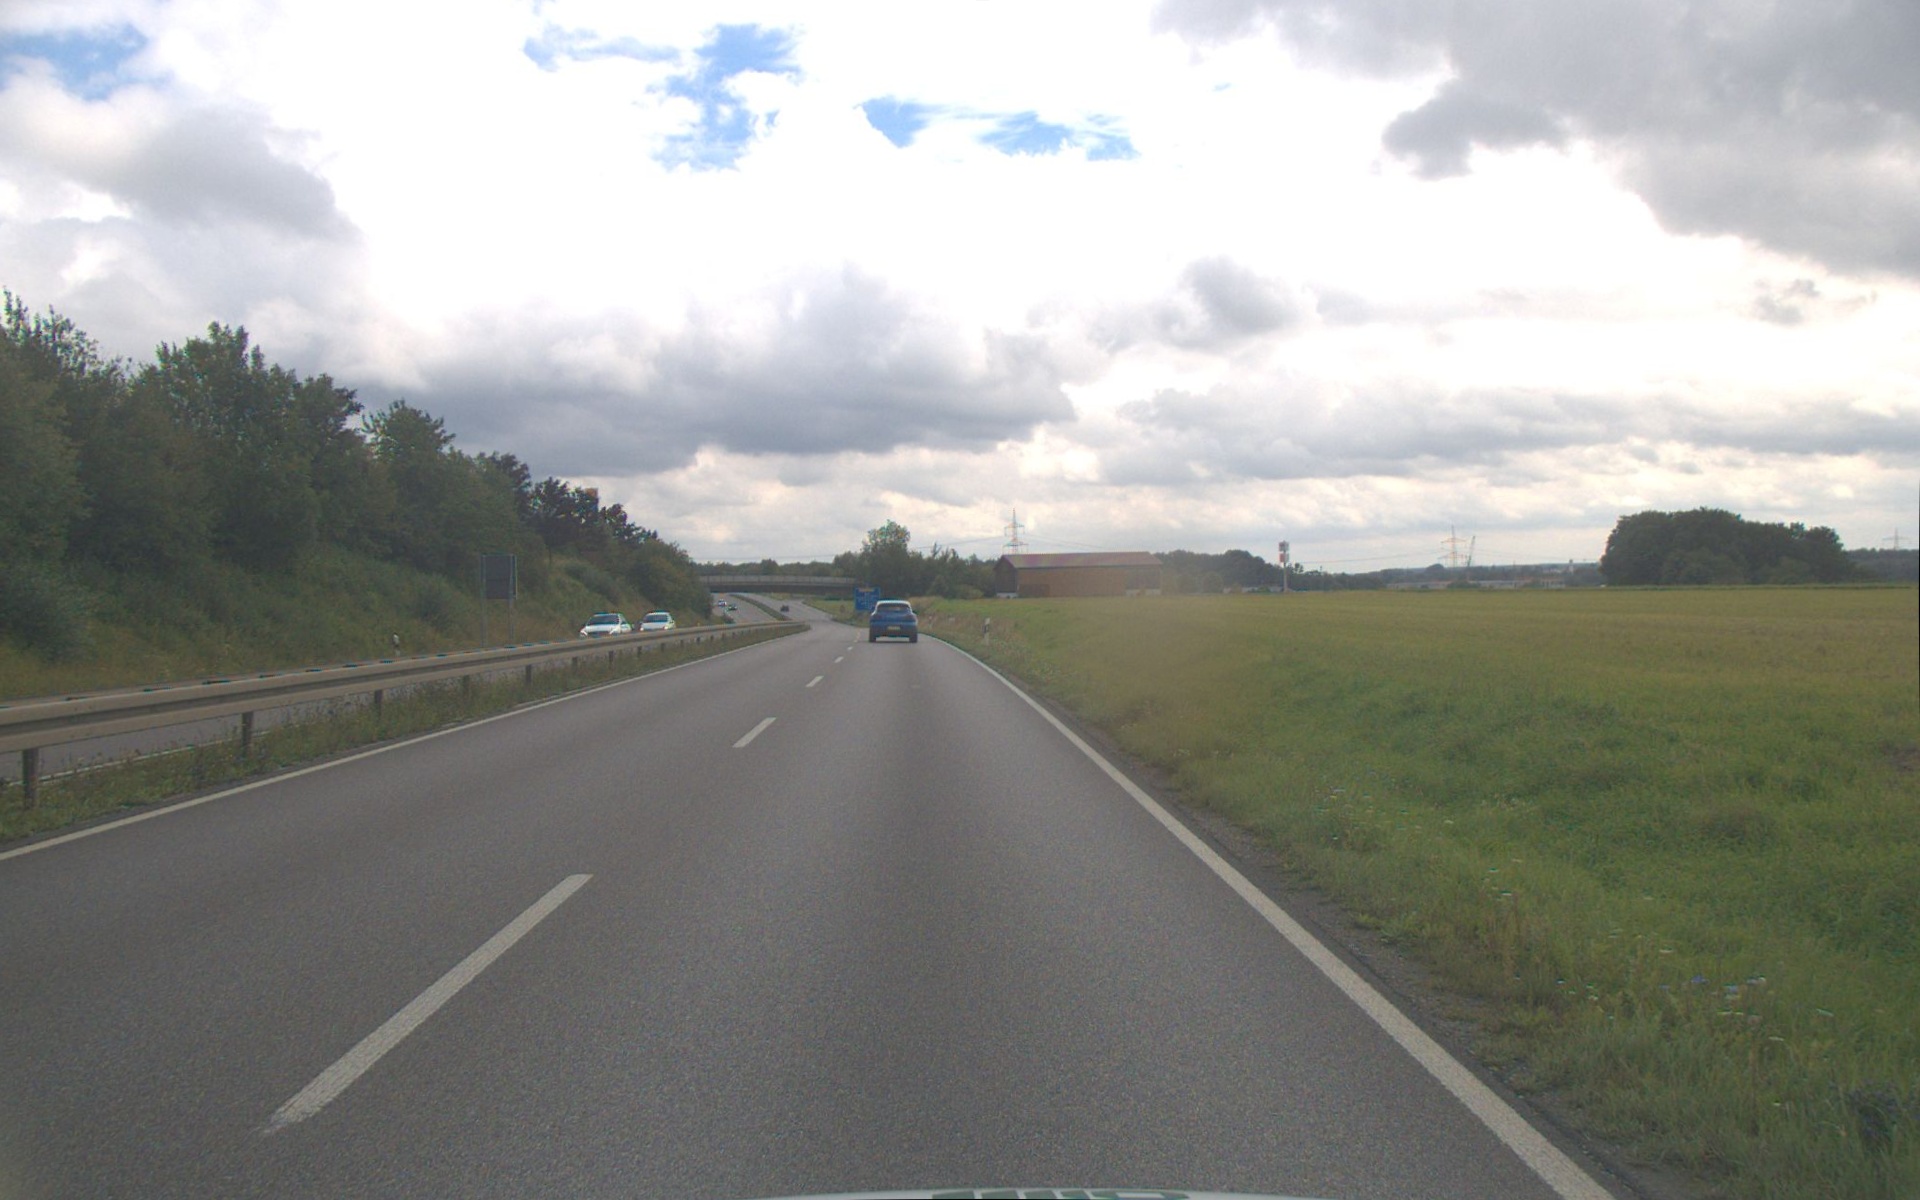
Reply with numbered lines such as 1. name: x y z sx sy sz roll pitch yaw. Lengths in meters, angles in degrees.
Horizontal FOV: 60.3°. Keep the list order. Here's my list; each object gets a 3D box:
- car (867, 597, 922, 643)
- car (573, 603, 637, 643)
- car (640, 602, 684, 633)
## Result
1. car: -2.625 0.775 65.634 1.993 1.689 4.539 0 1 -5
2. car: -15.813 0.979 73.878 1.954 1.544 4.986 -1 2 -3
3. car: -16.902 0.958 93.958 1.883 1.544 4.461 -1 2 -4
